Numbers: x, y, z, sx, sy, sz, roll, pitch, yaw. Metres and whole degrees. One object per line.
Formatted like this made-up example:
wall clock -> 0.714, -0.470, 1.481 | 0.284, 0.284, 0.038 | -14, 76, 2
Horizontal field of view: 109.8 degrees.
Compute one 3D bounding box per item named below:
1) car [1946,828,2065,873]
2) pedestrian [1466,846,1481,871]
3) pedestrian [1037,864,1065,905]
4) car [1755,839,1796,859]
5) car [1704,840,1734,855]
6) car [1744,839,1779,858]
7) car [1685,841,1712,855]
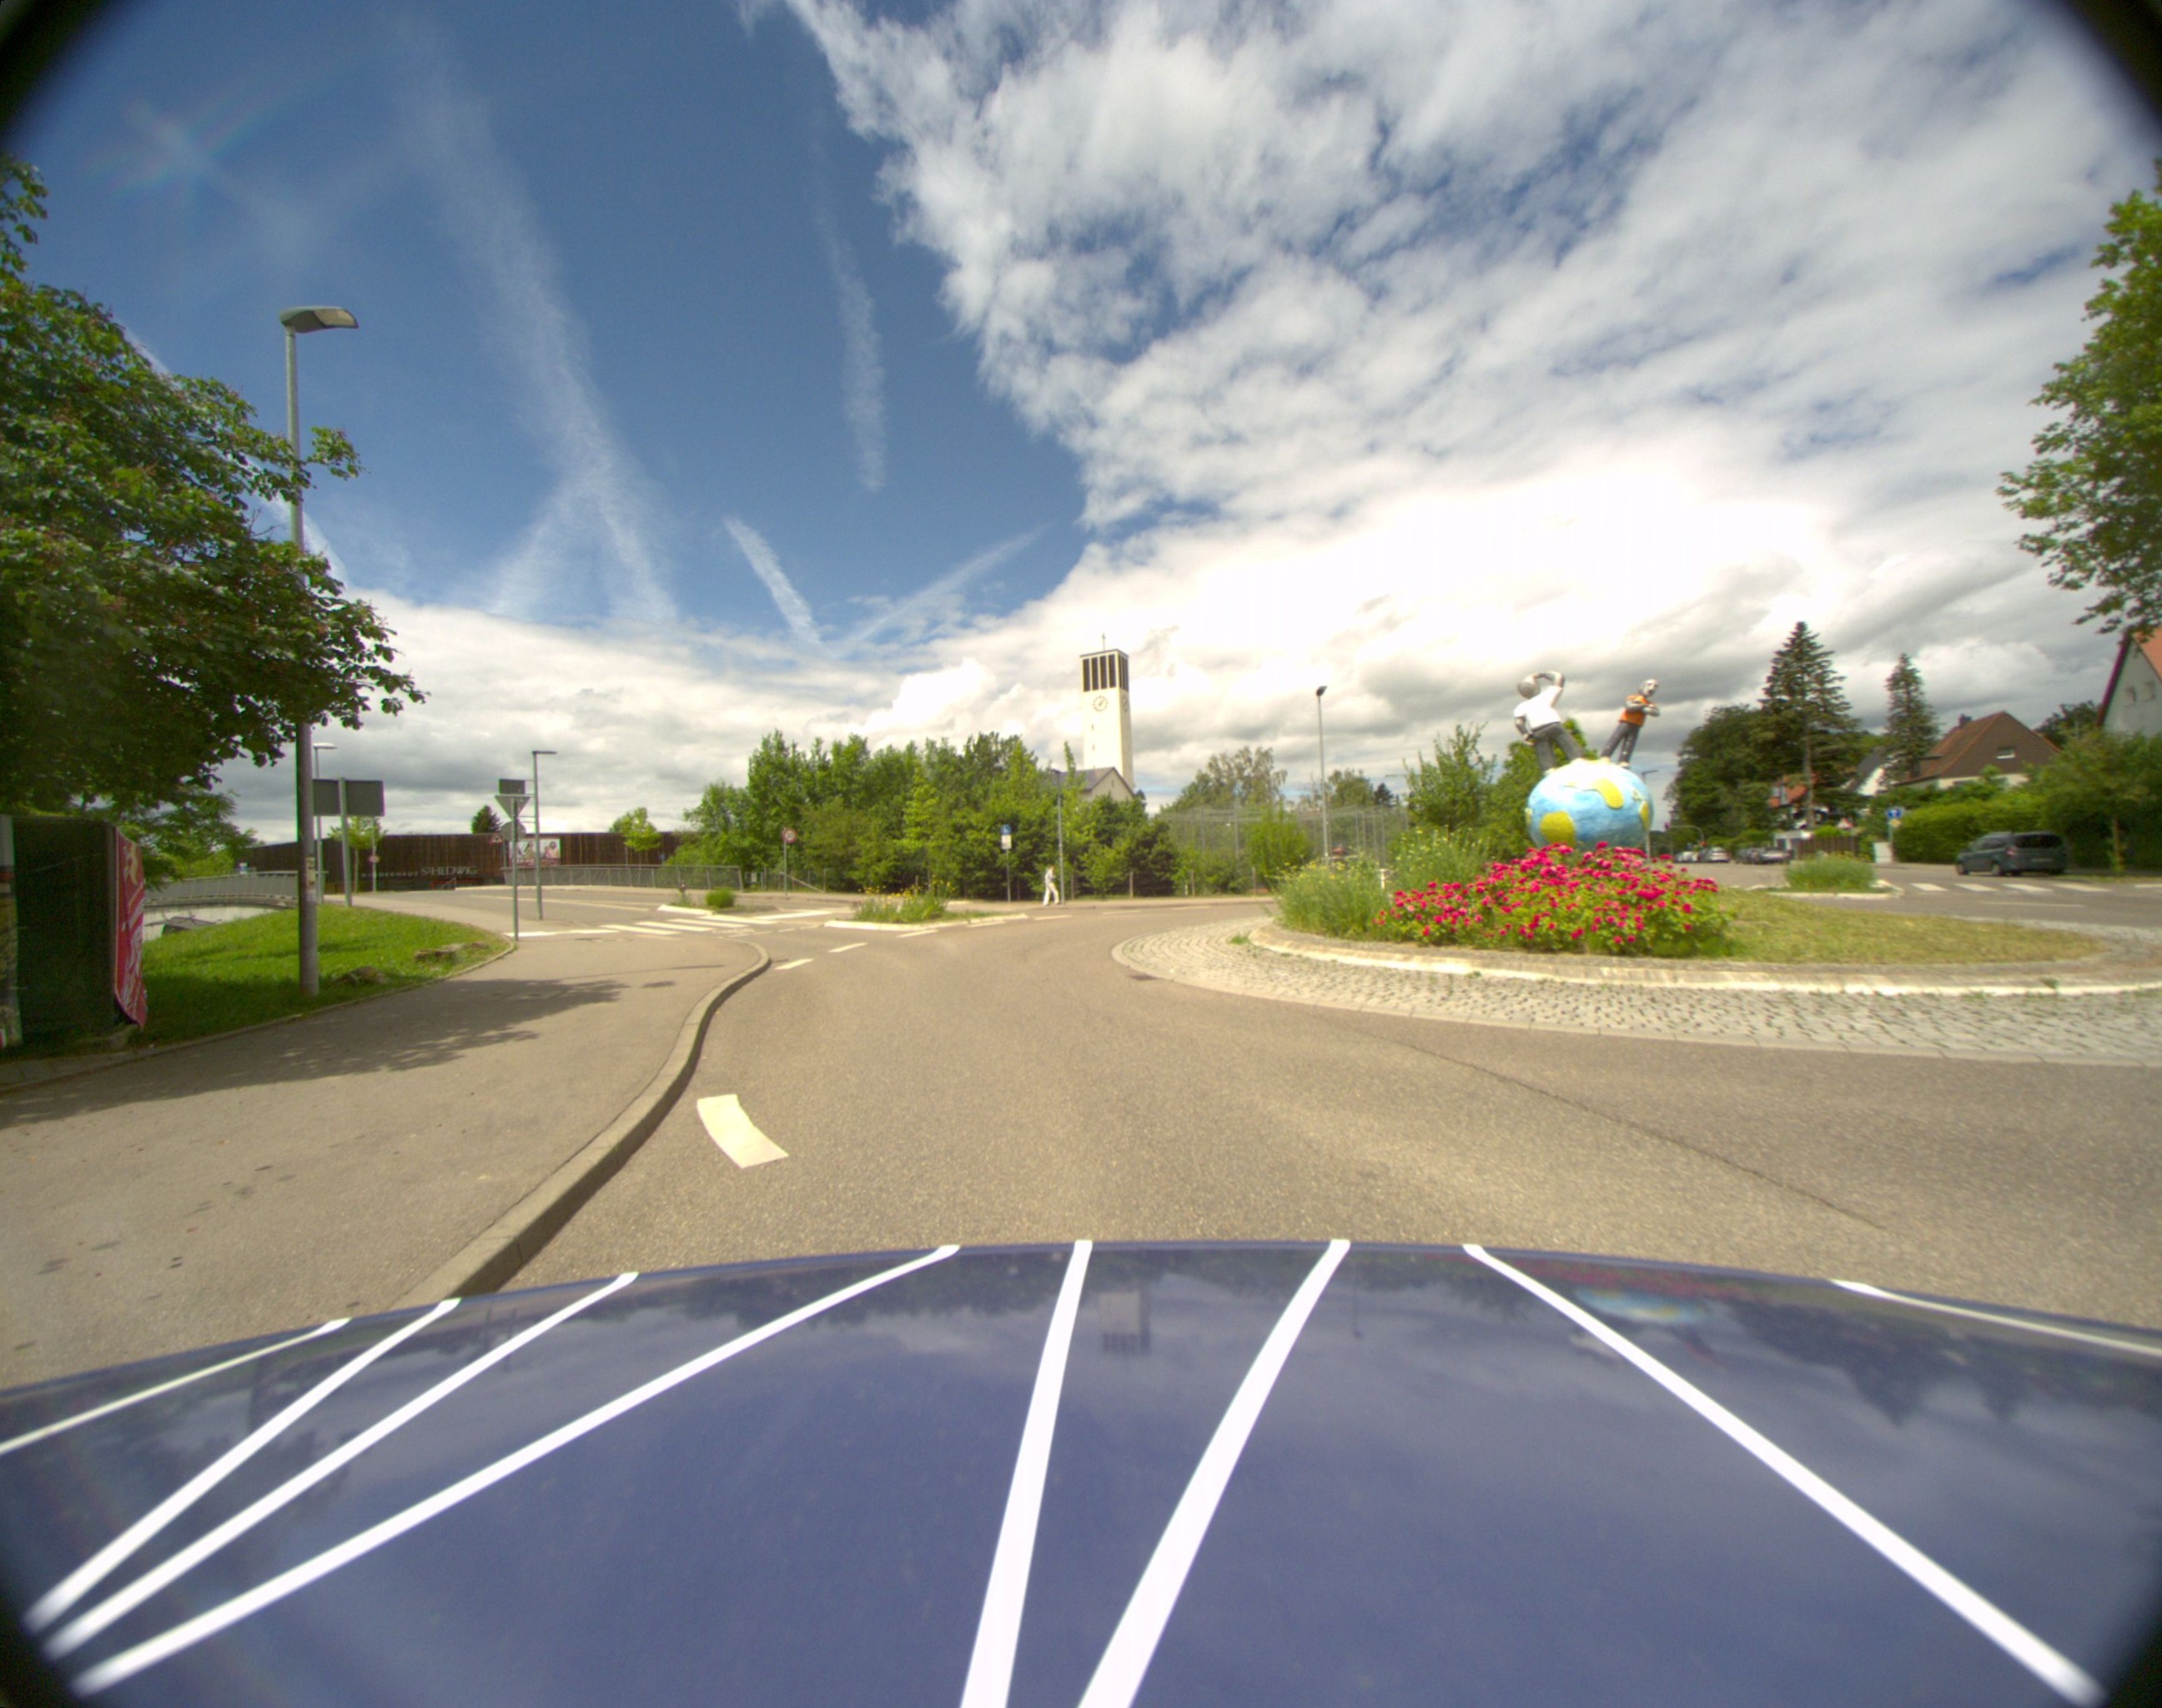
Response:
car -> 37.130, -0.155, 30.644 | 1.677, 1.652, 4.007 | -2, 0, 29
pedestrian -> 25.004, 0.276, 48.423 | 0.763, 1.548, 0.603 | -1, 0, 24
pedestrian -> -1.145, 1.179, 29.212 | 0.457, 1.524, 0.965 | -3, -1, 41
car -> 58.165, -0.436, 63.691 | 1.859, 1.567, 4.007 | -4, -1, 34
car -> 75.307, -0.748, 89.736 | 1.995, 1.696, 4.007 | -1, 0, 29
car -> 61.099, -0.537, 68.274 | 1.783, 1.567, 4.007 | -4, -1, 34
car -> 83.362, -0.806, 102.611 | 1.995, 1.696, 4.007 | -1, 0, 28
